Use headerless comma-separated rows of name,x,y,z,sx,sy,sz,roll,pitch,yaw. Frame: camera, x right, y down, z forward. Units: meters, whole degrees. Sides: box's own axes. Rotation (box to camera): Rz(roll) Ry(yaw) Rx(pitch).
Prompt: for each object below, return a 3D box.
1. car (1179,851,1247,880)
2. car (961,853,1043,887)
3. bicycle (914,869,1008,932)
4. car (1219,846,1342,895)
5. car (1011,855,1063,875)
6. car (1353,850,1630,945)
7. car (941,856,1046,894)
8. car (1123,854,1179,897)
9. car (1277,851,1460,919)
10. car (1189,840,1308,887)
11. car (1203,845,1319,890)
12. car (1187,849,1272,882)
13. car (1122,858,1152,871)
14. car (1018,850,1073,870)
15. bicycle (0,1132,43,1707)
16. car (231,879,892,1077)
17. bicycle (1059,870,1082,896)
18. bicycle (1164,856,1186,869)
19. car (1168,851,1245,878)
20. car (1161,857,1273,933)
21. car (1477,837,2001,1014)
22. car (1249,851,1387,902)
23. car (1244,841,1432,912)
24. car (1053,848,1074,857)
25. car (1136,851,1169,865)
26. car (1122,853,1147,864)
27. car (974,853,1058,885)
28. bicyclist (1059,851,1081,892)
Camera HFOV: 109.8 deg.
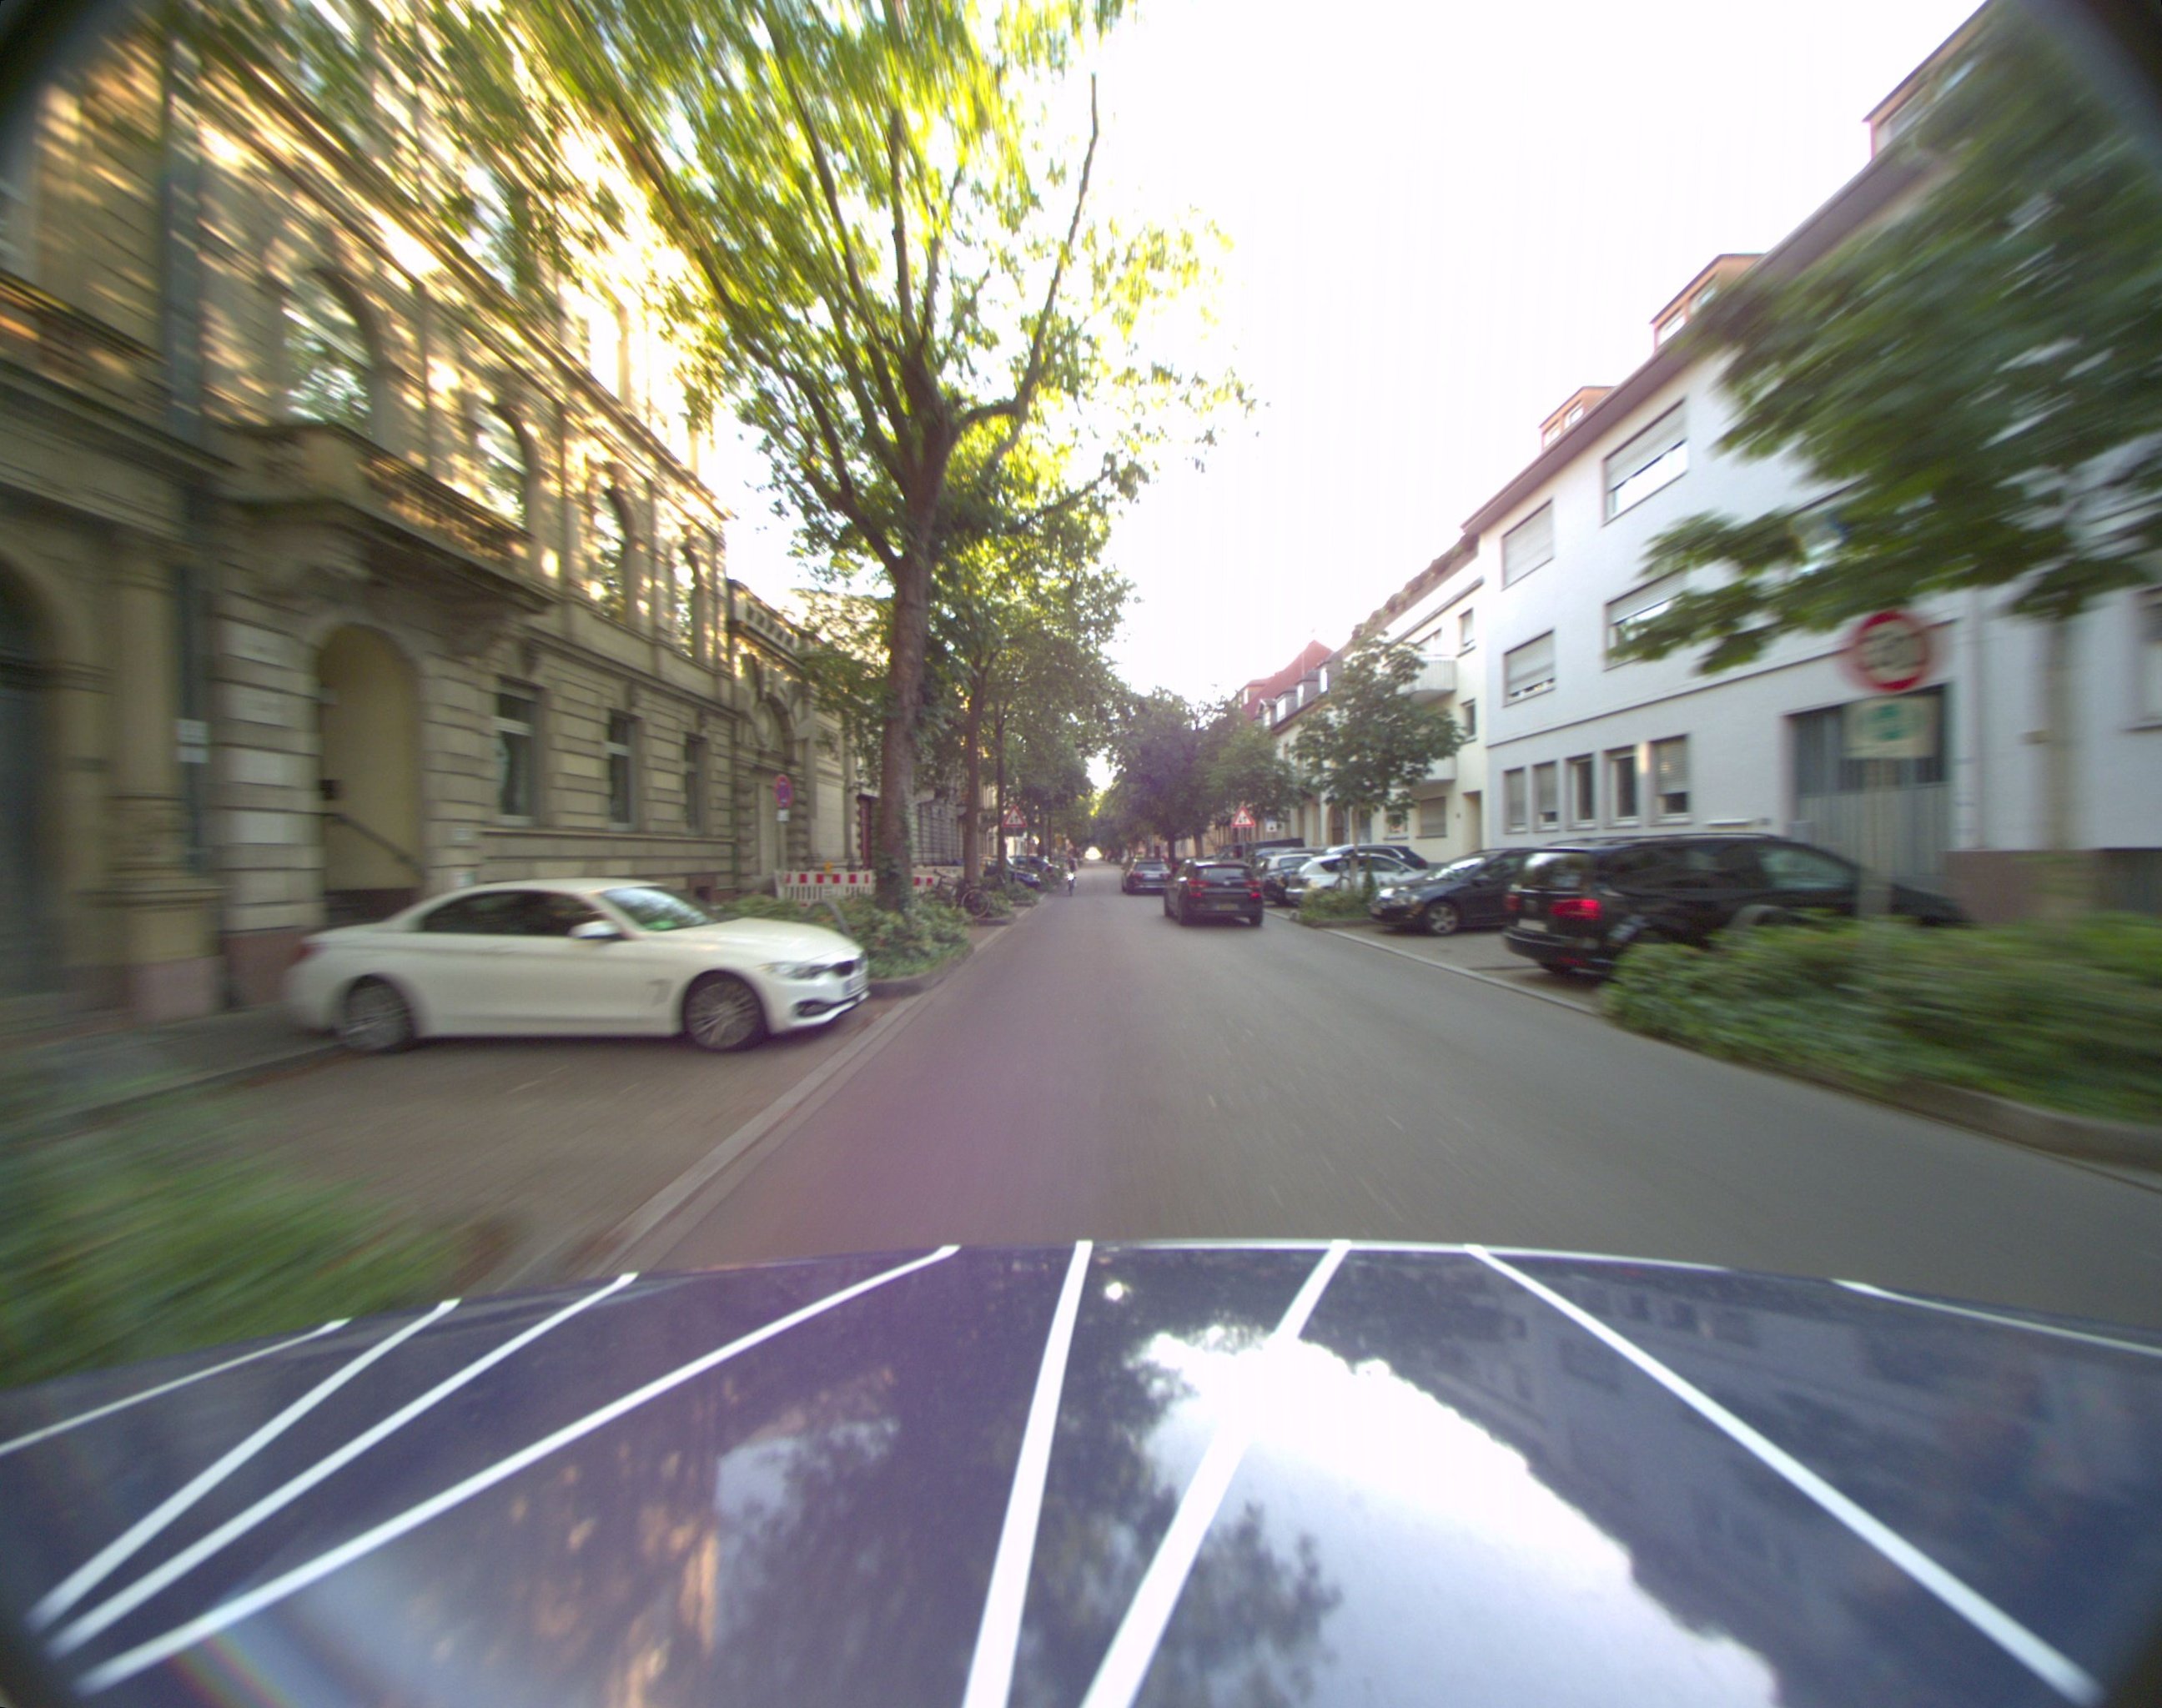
car,7.774,0.655,44.952,3.693,1.441,1.659,-3,0,1
car,-4.040,0.833,39.346,4.017,1.677,1.765,-1,0,1
bicycle,-2.779,1.065,17.704,2.051,1.352,0.508,-3,0,-1
car,7.635,0.614,29.364,4.165,1.582,1.823,-4,0,1
car,-3.393,0.835,58.562,3.875,1.419,1.781,2,0,-1
car,7.359,0.749,13.937,4.085,1.432,1.755,-3,0,2
car,-3.704,0.884,32.754,4.234,1.472,1.854,1,0,1
car,2.836,0.826,31.594,1.882,1.631,4.645,0,0,0
car,7.317,0.774,19.657,4.038,1.485,1.781,-3,0,4
car,7.644,0.414,35.048,5.003,1.979,2.190,-1,0,0
car,7.575,0.547,32.295,4.365,1.563,1.930,-4,0,1
car,8.244,0.644,42.439,4.365,1.530,1.771,-3,1,1
car,6.913,1.322,94.127,3.552,1.411,1.590,-4,0,-2
car,-3.084,0.536,65.910,4.420,1.552,1.867,2,0,8
bicycle,-3.015,1.136,1.070,2.026,1.197,0.488,1,1,-12
car,-4.248,0.991,6.767,4.594,1.429,1.925,-1,0,2
bicycle,-0.426,1.161,31.228,0.778,0.967,2.025,-1,0,4
bicycle,8.577,0.747,69.369,1.869,1.093,0.509,-3,1,-5
car,7.788,0.642,47.374,4.436,1.399,1.717,-3,2,-3
car,3.041,0.861,17.856,1.881,1.540,4.275,0,0,1
car,7.000,0.714,8.490,4.103,1.622,1.936,-2,0,2
car,7.609,0.705,24.698,3.855,1.442,1.855,-2,-1,1
car,7.336,0.621,22.064,4.677,1.755,2.156,-2,0,0
car,-3.000,-0.244,129.967,3.552,1.411,1.590,-4,0,1
car,8.121,0.421,86.057,3.497,1.397,1.673,-4,0,-2
car,7.956,0.709,113.222,3.552,1.411,1.590,-4,0,1
car,-3.522,0.804,41.816,4.451,1.708,1.968,0,1,1
bicyclist,-0.437,0.715,31.227,0.753,1.612,1.147,-2,1,4
